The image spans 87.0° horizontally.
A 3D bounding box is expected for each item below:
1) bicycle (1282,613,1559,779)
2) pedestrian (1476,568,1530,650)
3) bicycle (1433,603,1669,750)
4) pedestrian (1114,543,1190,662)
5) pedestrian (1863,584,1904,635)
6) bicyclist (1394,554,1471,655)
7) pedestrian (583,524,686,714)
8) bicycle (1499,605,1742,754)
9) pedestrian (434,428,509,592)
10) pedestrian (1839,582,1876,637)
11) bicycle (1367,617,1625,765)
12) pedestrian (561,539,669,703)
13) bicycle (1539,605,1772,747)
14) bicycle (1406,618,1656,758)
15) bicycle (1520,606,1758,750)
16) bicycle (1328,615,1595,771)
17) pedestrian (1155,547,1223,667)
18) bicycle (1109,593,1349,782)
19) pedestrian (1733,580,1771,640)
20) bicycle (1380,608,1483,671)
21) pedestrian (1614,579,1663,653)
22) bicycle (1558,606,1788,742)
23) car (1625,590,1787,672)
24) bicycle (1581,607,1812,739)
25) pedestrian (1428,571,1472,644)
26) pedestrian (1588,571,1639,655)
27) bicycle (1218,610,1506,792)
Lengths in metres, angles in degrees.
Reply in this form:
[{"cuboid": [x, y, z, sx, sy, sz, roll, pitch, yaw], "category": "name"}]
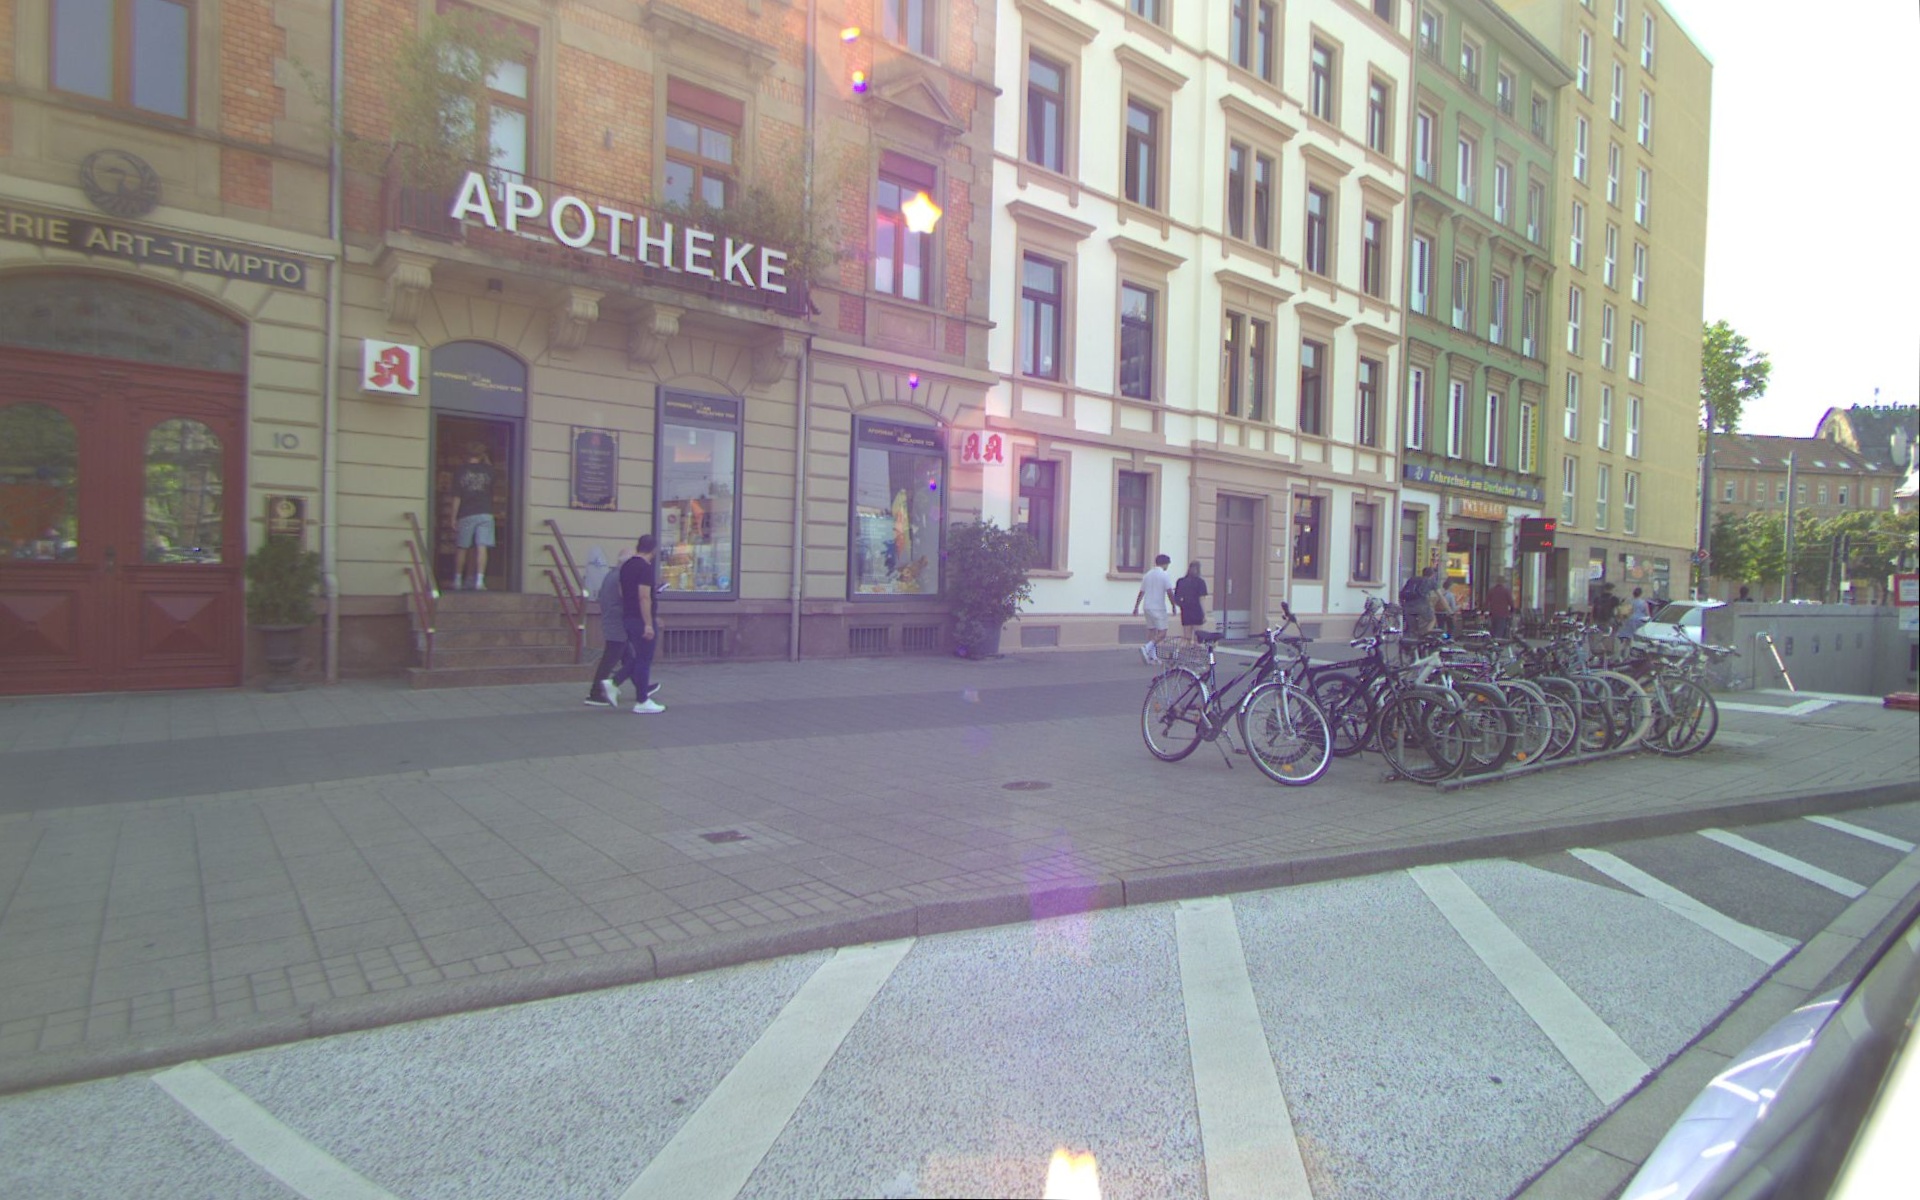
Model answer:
[{"cuboid": [3.459, 0.659, 7.754, 0.645, 1.074, 1.842, 1, 0, -38], "category": "bicycle"}, {"cuboid": [12.130, 0.189, 22.596, 0.867, 1.755, 0.771, 0, 2, -43], "category": "pedestrian"}, {"cuboid": [5.459, 0.647, 9.458, 0.539, 1.219, 1.841, 1, 0, -38], "category": "bicycle"}, {"cuboid": [3.070, 0.026, 16.179, 0.913, 1.826, 0.726, 0, 2, -43], "category": "pedestrian"}, {"cuboid": [30.376, 0.306, 33.293, 0.780, 1.648, 0.647, 1, 2, -23], "category": "pedestrian"}, {"cuboid": [7.840, 0.064, 16.782, 1.082, 1.606, 0.721, 1, 1, -38], "category": "bicyclist"}, {"cuboid": [-3.018, 0.154, 9.360, 0.695, 1.671, 0.646, 1, 2, -38], "category": "pedestrian"}, {"cuboid": [6.043, 0.670, 9.362, 0.427, 1.219, 1.841, 1, 0, -38], "category": "bicycle"}, {"cuboid": [-5.901, -1.058, 12.222, 0.650, 1.886, 0.738, 0, 1, -39], "category": "pedestrian"}, {"cuboid": [27.545, 0.292, 31.063, 0.782, 1.648, 0.646, 1, 2, -38], "category": "pedestrian"}, {"cuboid": [4.493, 0.703, 8.606, 0.645, 1.074, 1.842, 1, 0, -38], "category": "bicycle"}, {"cuboid": [-3.361, 0.184, 9.868, 0.827, 1.528, 0.558, 1, 2, -38], "category": "pedestrian"}, {"cuboid": [6.738, 0.685, 9.906, 0.427, 1.235, 1.841, 1, 0, -38], "category": "bicycle"}, {"cuboid": [5.028, 0.719, 9.023, 0.645, 1.070, 1.842, 1, 0, -38], "category": "bicycle"}, {"cuboid": [6.386, 0.678, 9.621, 0.427, 1.219, 1.841, 1, 0, -38], "category": "bicycle"}, {"cuboid": [3.989, 0.681, 8.188, 0.645, 1.066, 1.842, 1, 0, -38], "category": "bicycle"}, {"cuboid": [3.550, 0.095, 15.673, 0.783, 1.793, 0.645, 0, 2, -43], "category": "pedestrian"}, {"cuboid": [1.907, 0.560, 7.364, 0.677, 1.200, 1.608, 1, 0, -37], "category": "bicycle"}, {"cuboid": [22.294, 0.274, 28.502, 0.783, 1.648, 0.645, 0, 2, -41], "category": "pedestrian"}, {"cuboid": [7.836, 0.627, 16.788, 1.964, 0.965, 0.721, 1, 1, -39], "category": "bicycle"}, {"cuboid": [15.558, 0.359, 23.198, 0.782, 1.648, 0.646, 1, 2, -36], "category": "pedestrian"}, {"cuboid": [7.112, 0.688, 10.189, 0.427, 1.219, 1.841, 1, 0, -38], "category": "bicycle"}, {"cuboid": [15.529, 0.585, 21.013, 3.862, 1.444, 1.667, 0, 4, -38], "category": "car"}, {"cuboid": [7.599, 0.702, 10.524, 0.626, 1.219, 1.842, 1, 0, -38], "category": "bicycle"}, {"cuboid": [11.461, 0.167, 23.663, 0.783, 1.648, 0.645, 0, 2, -43], "category": "pedestrian"}, {"cuboid": [14.350, 0.275, 22.237, 0.783, 1.780, 0.688, 0, 2, -42], "category": "pedestrian"}, {"cuboid": [2.796, 0.636, 7.210, 0.686, 1.089, 1.807, 0, 0, -39], "category": "bicycle"}]
